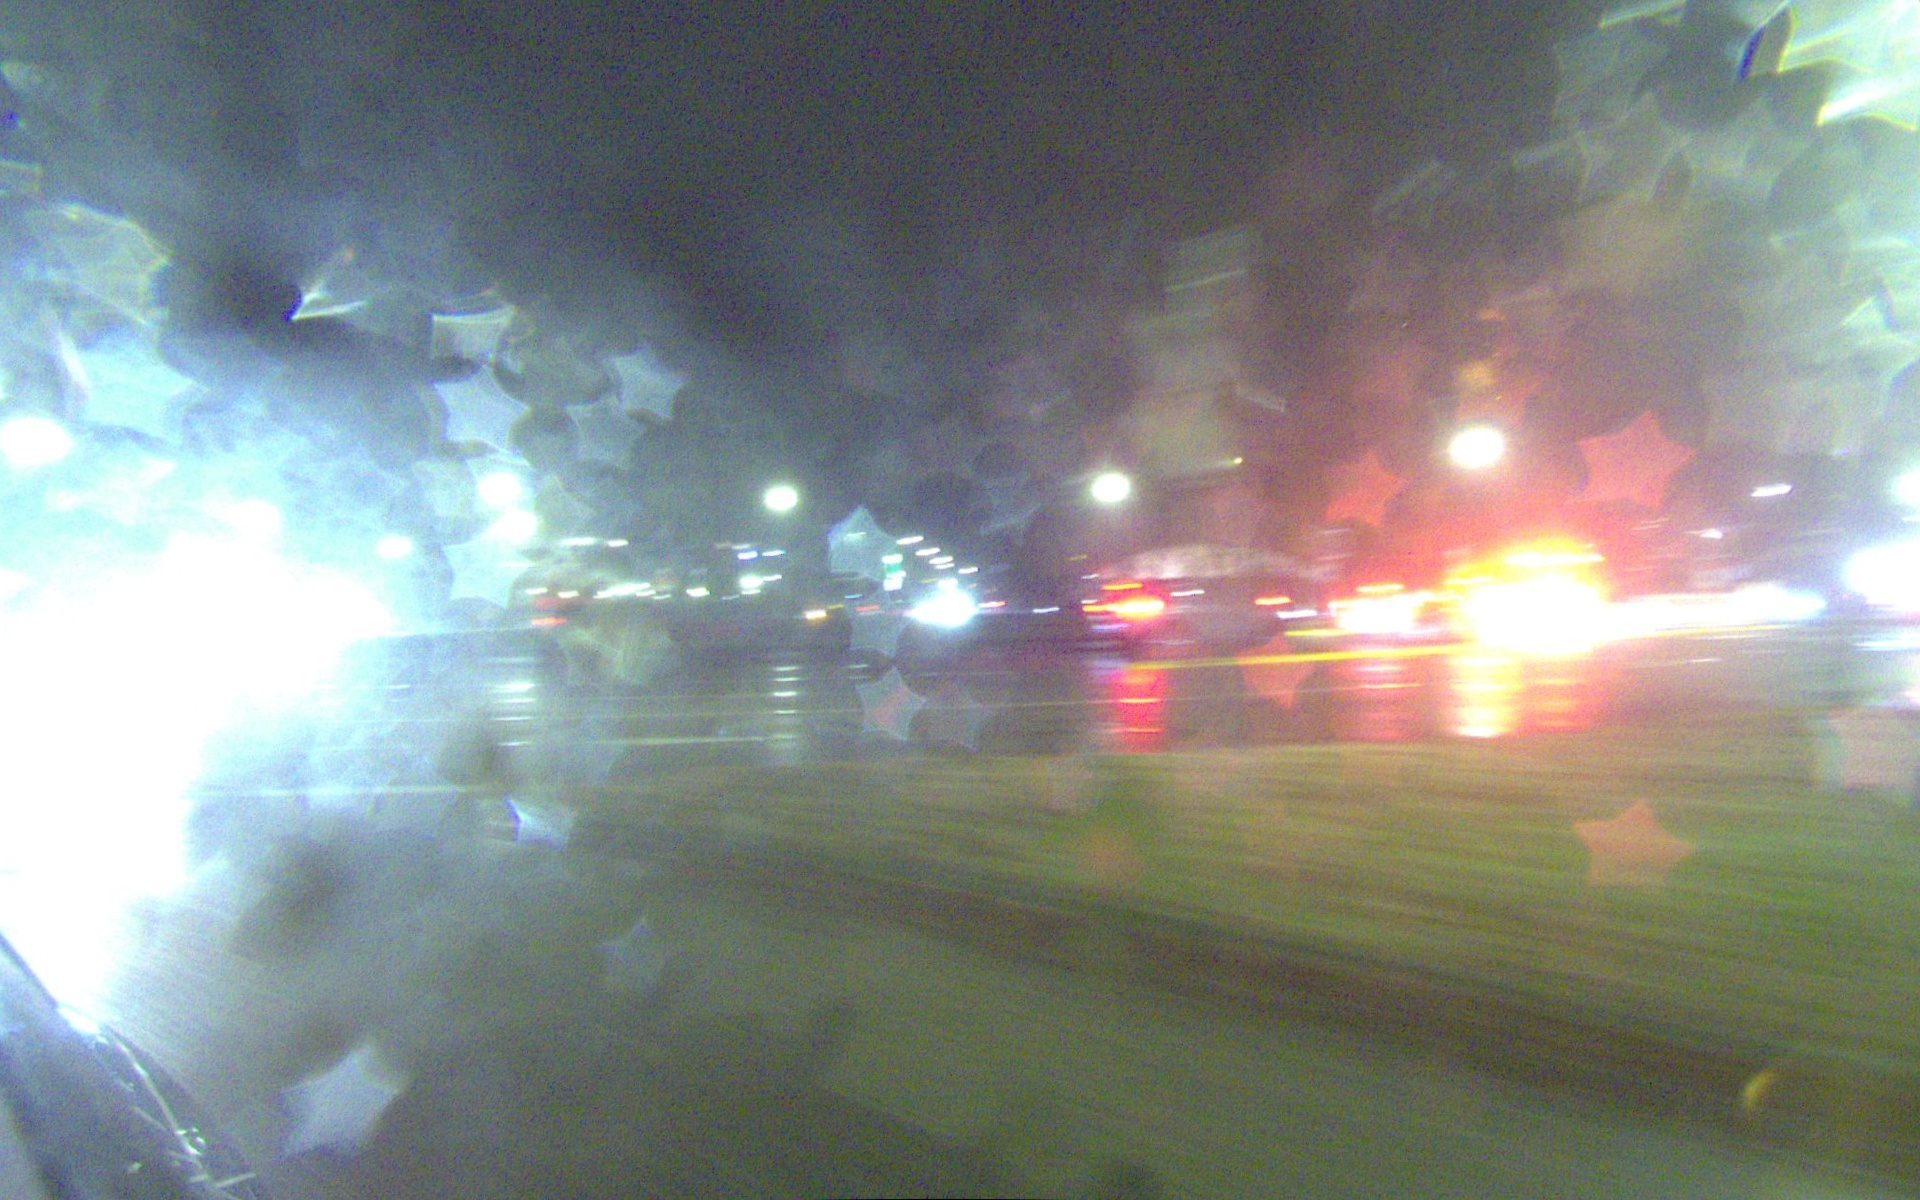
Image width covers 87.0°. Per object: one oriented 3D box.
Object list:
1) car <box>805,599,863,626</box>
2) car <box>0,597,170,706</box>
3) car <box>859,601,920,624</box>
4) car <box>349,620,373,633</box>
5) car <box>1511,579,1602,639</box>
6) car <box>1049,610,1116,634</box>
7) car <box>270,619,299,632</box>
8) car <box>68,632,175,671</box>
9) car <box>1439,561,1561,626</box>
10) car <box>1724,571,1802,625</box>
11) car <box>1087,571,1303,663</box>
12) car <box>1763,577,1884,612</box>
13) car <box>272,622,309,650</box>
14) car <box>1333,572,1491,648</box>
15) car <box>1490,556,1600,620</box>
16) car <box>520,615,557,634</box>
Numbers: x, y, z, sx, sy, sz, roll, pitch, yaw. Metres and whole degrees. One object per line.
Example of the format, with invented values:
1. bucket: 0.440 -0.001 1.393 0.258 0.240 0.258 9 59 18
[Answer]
1. car: -8.537 0.802 68.702 3.813 1.630 1.776 -3 0 -6
2. car: -15.319 0.829 16.657 4.851 1.538 1.818 -2 0 28
3. car: -5.067 0.933 73.224 3.980 1.455 1.825 -2 0 15
4. car: -74.111 3.282 125.164 1.802 1.383 3.952 -3 1 -42
5. car: 18.450 0.248 31.216 1.835 1.628 3.948 -2 1 39
6. car: 8.178 1.489 67.732 4.005 1.455 1.813 -2 0 32
7. car: -99.676 3.815 149.346 5.034 1.728 2.044 -2 1 38
8. car: -41.725 2.528 50.474 1.926 1.634 3.944 -2 0 4
9. car: 14.735 -0.192 27.534 3.906 1.590 1.739 -3 1 -44
10. car: 24.951 -0.088 31.545 1.766 1.497 3.950 -2 1 37
11. car: 4.744 0.310 20.453 3.896 1.590 1.743 -3 0 -22
12. car: 40.149 -0.254 47.196 4.005 1.455 1.813 -2 0 32
13. car: -43.763 2.319 66.131 1.778 1.718 4.009 -3 1 -37
14. car: 10.862 0.207 24.235 3.902 1.590 1.880 -3 1 -39
15. car: 21.568 -0.473 37.629 2.497 2.105 6.270 -2 1 21
16. car: -38.529 2.247 92.465 3.875 1.630 1.747 -2 1 45
